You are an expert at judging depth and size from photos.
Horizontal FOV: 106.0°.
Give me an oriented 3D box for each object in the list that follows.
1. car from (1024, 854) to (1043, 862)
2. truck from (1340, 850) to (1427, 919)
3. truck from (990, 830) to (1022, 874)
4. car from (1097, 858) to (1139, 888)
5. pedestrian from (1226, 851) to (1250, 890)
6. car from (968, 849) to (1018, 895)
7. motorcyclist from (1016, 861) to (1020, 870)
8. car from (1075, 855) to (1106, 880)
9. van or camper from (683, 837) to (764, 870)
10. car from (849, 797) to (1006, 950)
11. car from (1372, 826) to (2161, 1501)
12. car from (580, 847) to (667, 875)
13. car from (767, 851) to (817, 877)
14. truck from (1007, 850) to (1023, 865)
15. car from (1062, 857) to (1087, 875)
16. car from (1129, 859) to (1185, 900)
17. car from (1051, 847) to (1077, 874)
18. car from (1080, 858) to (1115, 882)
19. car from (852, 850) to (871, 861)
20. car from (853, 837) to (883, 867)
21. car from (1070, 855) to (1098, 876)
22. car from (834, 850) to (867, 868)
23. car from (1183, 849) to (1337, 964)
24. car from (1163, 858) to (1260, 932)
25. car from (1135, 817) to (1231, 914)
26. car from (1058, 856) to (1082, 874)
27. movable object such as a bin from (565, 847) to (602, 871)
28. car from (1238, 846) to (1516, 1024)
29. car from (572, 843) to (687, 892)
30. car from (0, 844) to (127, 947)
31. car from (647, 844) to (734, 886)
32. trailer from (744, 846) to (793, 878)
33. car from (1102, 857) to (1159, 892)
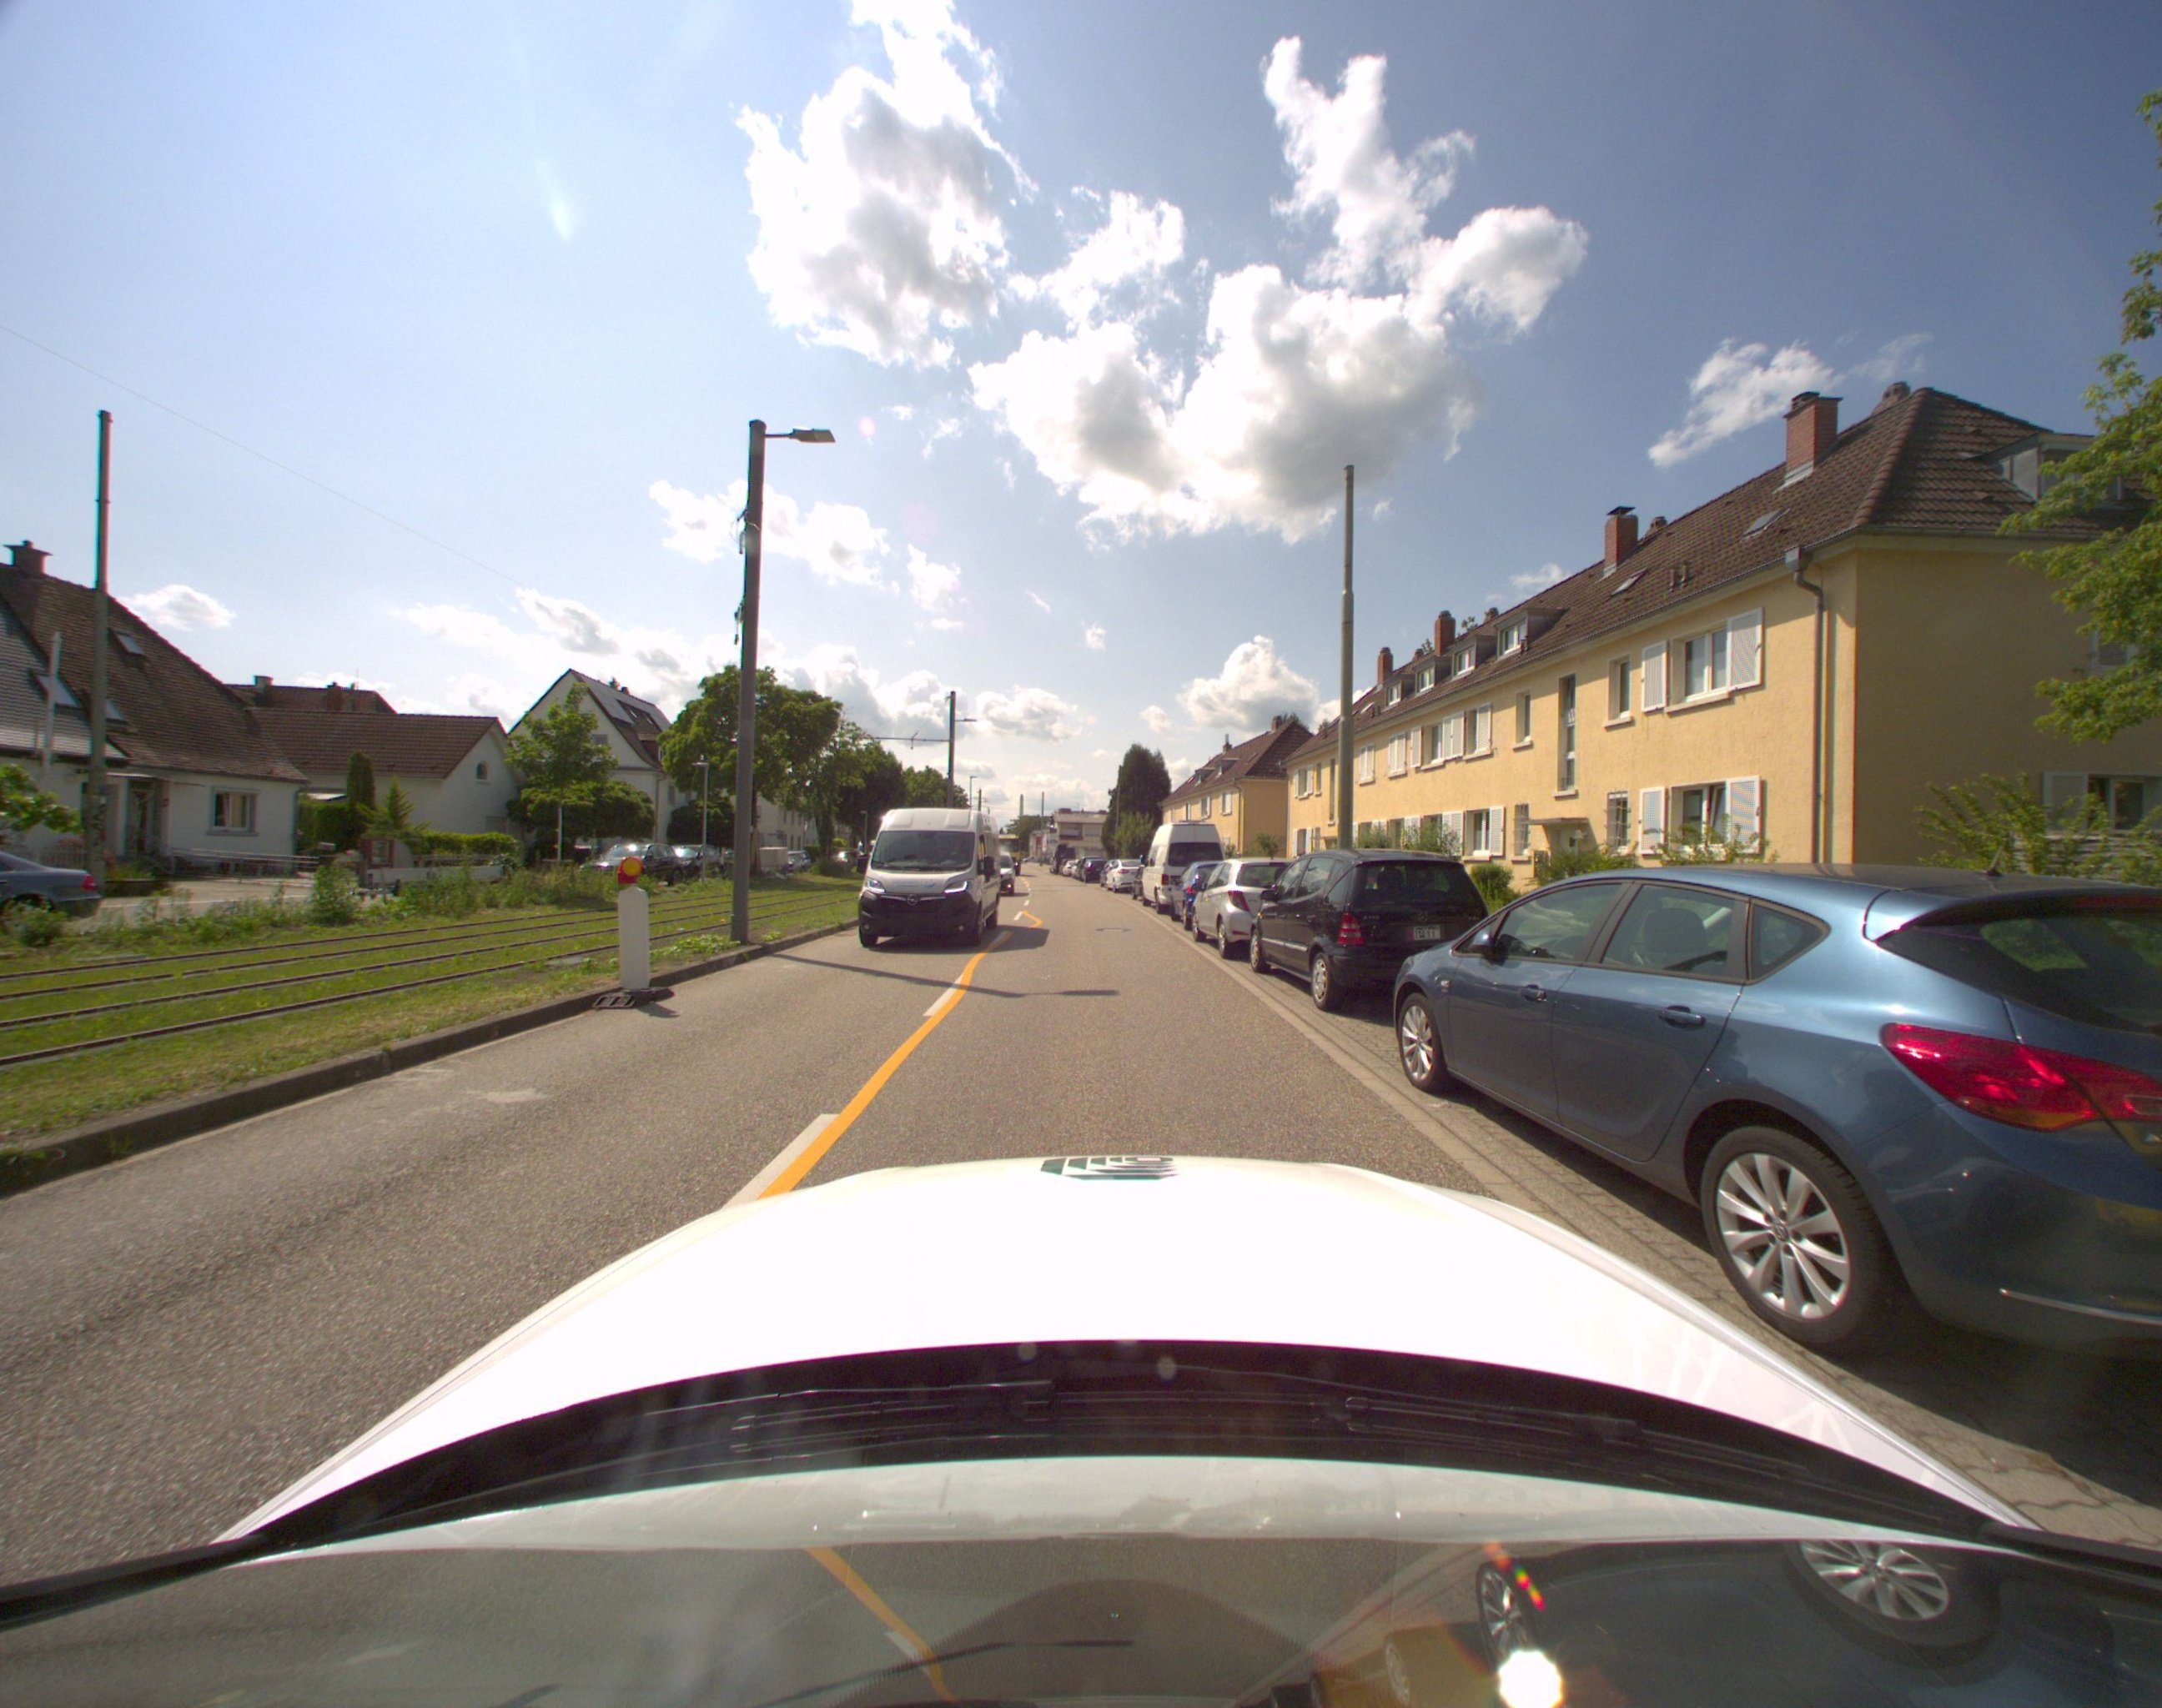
[{"bbox_3d":[-12.204,1.050,208.056,4.643,1.823,1.829,1,0,-11],"label":"car"},{"bbox_3d":[7.860,0.765,21.315,1.342,1.688,2.440,1,-1,-1],"label":"truck"},{"bbox_3d":[-6.333,-0.178,68.390,2.556,3.459,7.135,-1,0,-6],"label":"truck"},{"bbox_3d":[1.845,0.928,41.830,1.618,1.417,3.993,-1,0,-5],"label":"car"},{"bbox_3d":[6.774,0.720,35.122,0.851,1.652,0.637,1,0,0],"label":"pedestrian"},{"bbox_3d":[-3.586,0.698,33.705,1.730,1.773,4.304,1,0,-3],"label":"car"},{"bbox_3d":[-12.799,2.311,165.261,0.883,1.667,1.107,1,0,-6],"label":"motorcyclist"},{"bbox_3d":[0.625,0.870,55.786,1.761,1.643,3.993,-1,0,-5],"label":"car"},{"bbox_3d":[-35.470,-0.007,80.881,6.872,3.126,2.437,1,0,-6],"label":"van or camper"},{"bbox_3d":[-2.743,0.331,16.009,2.097,2.443,5.567,1,0,-2],"label":"car"},{"bbox_3d":[2.959,0.702,3.878,1.631,1.482,4.123,1,0,-1],"label":"car"},{"bbox_3d":[-26.736,0.402,47.710,3.984,1.571,1.790,1,0,-8],"label":"car"},{"bbox_3d":[-17.616,0.609,49.840,1.725,1.505,4.561,-1,0,-4],"label":"car"},{"bbox_3d":[-15.271,0.809,187.464,3.218,3.402,11.325,1,-1,-7],"label":"truck"},{"bbox_3d":[-0.540,0.977,66.849,1.761,1.439,3.993,-1,0,-5],"label":"car"},{"bbox_3d":[2.593,0.875,28.469,1.339,1.340,3.281,1,-1,-6],"label":"car"},{"bbox_3d":[-1.677,0.593,78.052,1.957,2.478,6.047,-1,0,-6],"label":"car"},{"bbox_3d":[0.962,0.951,50.669,1.761,1.417,3.993,-1,0,-5],"label":"car"},{"bbox_3d":[-30.230,0.233,112.404,1.876,1.553,4.388,1,-1,-6],"label":"car"},{"bbox_3d":[-20.715,-0.183,79.522,2.073,2.721,6.980,-1,0,-9],"label":"car"},{"bbox_3d":[0.197,0.853,60.673,1.761,1.477,3.993,-1,0,-5],"label":"car"},{"bbox_3d":[-19.411,0.409,68.782,1.725,1.505,4.561,-1,0,-4],"label":"car"},{"bbox_3d":[2.801,0.756,13.590,1.631,1.602,4.028,1,0,-1],"label":"car"},{"bbox_3d":[2.814,0.836,18.222,1.531,1.445,3.736,1,0,-1],"label":"car"},{"bbox_3d":[2.802,0.304,23.592,1.924,2.481,5.513,0,0,-2],"label":"car"},{"bbox_3d":[-1.013,0.928,71.998,1.761,1.502,3.993,-1,0,-5],"label":"car"},{"bbox_3d":[-27.872,0.294,45.643,1.356,1.329,1.087,1,0,-4],"label":"movable object such as a bin"},{"bbox_3d":[3.094,0.749,9.408,1.632,1.602,3.927,1,0,-3],"label":"car"},{"bbox_3d":[-15.920,0.436,29.029,1.808,1.586,4.561,-1,0,-4],"label":"car"},{"bbox_3d":[-15.658,0.551,10.156,1.813,1.406,4.811,1,0,0],"label":"car"},{"bbox_3d":[-16.513,0.453,34.672,1.691,1.637,4.562,-1,0,-3],"label":"car"},{"bbox_3d":[-16.933,0.429,44.221,1.563,1.678,3.366,1,0,-5],"label":"trailer"},{"bbox_3d":[2.137,0.895,36.424,1.796,1.458,4.755,-1,-1,-6],"label":"car"}]
